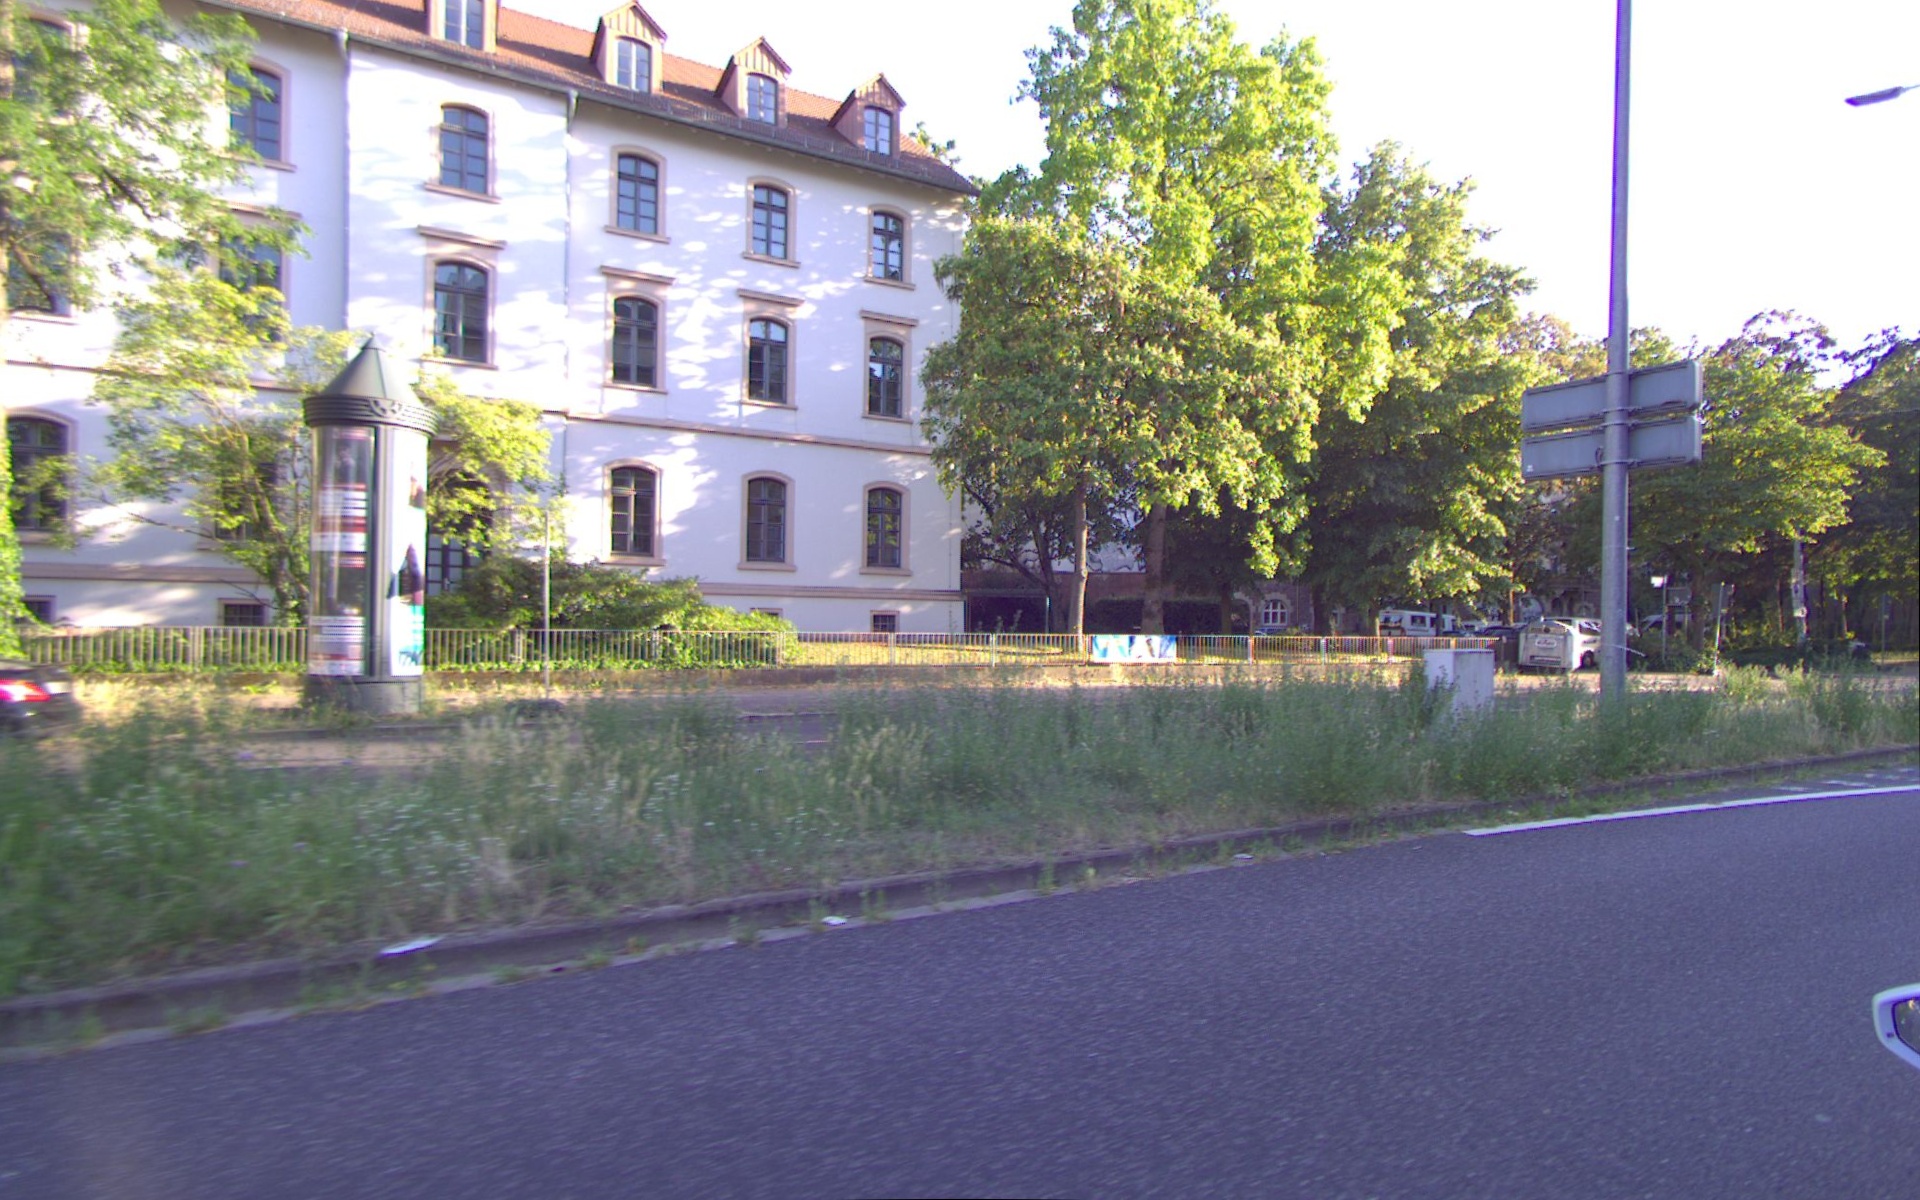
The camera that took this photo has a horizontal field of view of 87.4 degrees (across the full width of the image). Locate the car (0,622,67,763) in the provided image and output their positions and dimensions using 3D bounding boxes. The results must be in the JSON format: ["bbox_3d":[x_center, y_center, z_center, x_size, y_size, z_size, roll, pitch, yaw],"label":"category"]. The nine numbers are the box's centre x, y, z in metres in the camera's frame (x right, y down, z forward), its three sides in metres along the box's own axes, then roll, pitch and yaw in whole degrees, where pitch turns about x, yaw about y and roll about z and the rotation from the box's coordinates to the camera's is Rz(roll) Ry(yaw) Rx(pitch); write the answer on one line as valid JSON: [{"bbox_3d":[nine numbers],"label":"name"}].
[{"bbox_3d":[-10.902,0.871,9.023,3.960,1.290,1.767,1,-5,-30],"label":"car"}]

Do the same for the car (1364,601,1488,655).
[{"bbox_3d":[20.762,1.247,44.743,5.025,2.319,2.210,1,0,-23],"label":"car"}]

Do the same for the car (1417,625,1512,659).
[{"bbox_3d":[21.399,1.768,42.586,3.952,1.350,1.724,1,0,-30],"label":"car"}]

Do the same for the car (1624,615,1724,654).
[{"bbox_3d":[48.942,2.349,68.955,5.128,2.518,2.275,1,-1,9],"label":"car"}]

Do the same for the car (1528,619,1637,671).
[{"bbox_3d":[23.367,1.659,37.710,3.952,1.819,1.810,1,0,-30],"label":"car"}]
